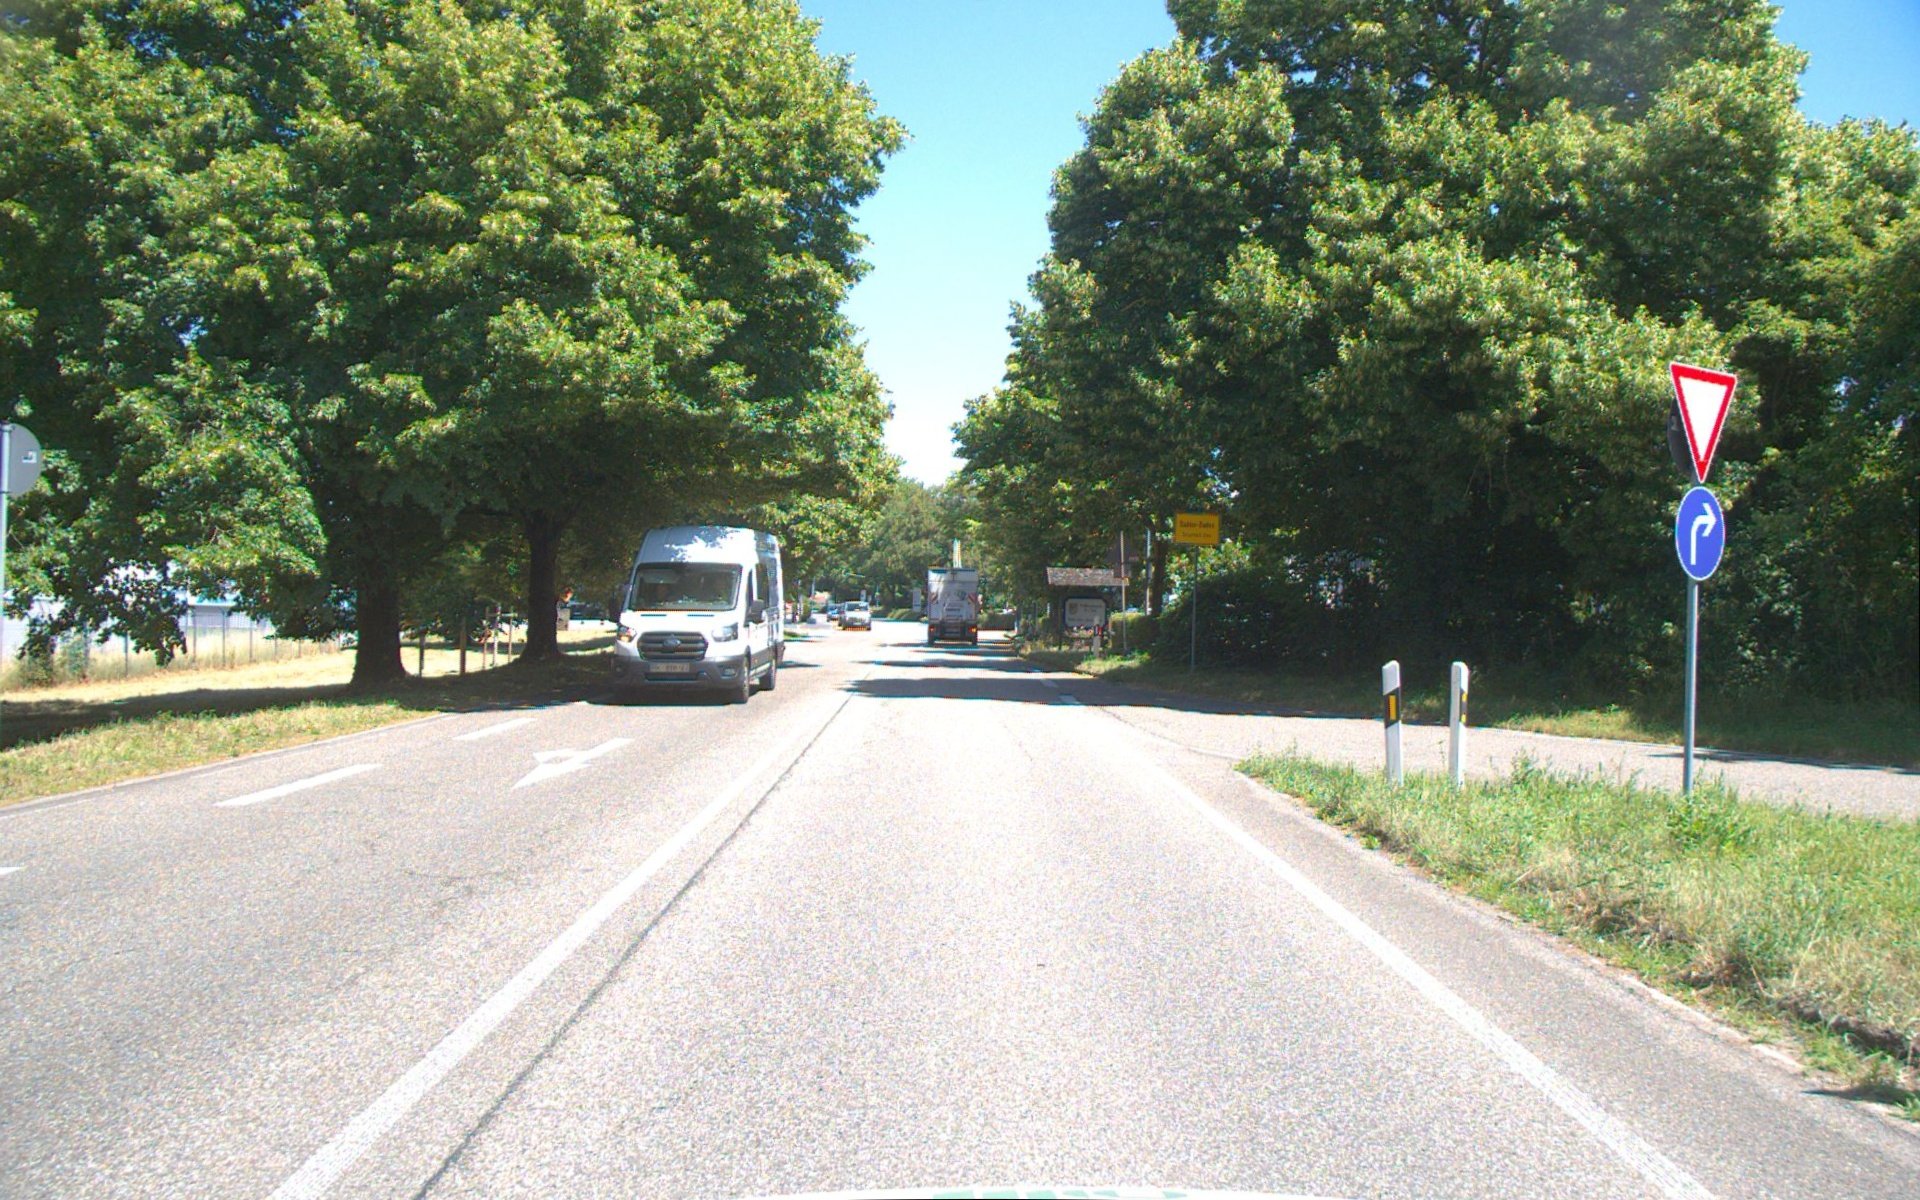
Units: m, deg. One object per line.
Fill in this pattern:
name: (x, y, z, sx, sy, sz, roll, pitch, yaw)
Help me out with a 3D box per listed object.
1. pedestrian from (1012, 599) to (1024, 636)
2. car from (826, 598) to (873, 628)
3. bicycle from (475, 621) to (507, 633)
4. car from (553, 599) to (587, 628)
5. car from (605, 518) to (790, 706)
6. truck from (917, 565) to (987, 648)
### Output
pedestrian: (2.825, 0.849, 80.410, 0.536, 1.807, 0.577, 0, -1, 4)
car: (-7.284, 0.853, 108.344, 1.962, 1.889, 5.291, 0, 0, -17)
bicycle: (-26.160, 1.511, 92.231, 1.640, 0.658, 0.424, 0, -1, -6)
car: (-21.993, 0.741, 93.260, 1.708, 1.613, 3.983, 0, 0, -15)
car: (-4.087, 0.188, 26.977, 2.031, 2.673, 6.782, 0, 0, -1)
truck: (-0.262, 0.219, 66.953, 2.480, 3.190, 5.363, 0, 1, 3)
